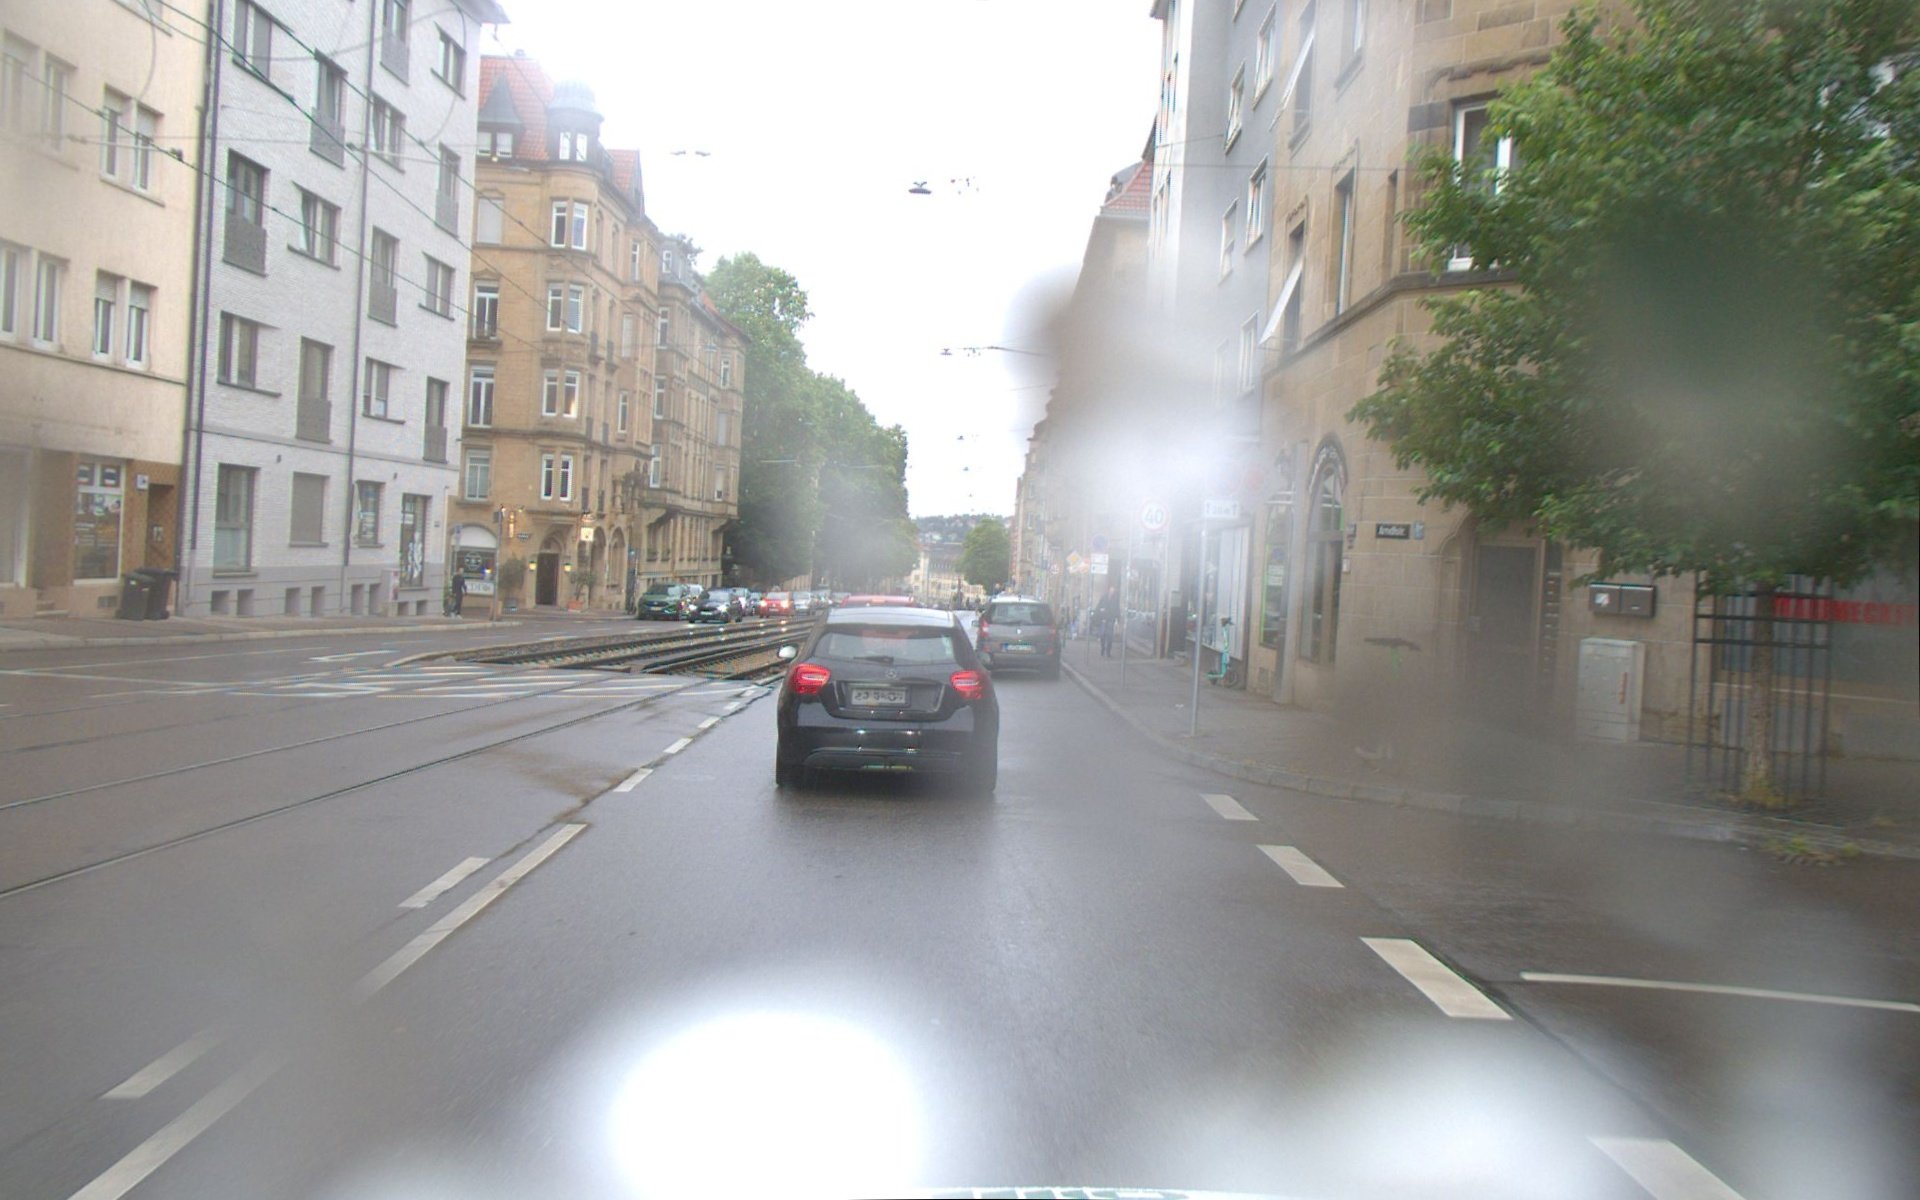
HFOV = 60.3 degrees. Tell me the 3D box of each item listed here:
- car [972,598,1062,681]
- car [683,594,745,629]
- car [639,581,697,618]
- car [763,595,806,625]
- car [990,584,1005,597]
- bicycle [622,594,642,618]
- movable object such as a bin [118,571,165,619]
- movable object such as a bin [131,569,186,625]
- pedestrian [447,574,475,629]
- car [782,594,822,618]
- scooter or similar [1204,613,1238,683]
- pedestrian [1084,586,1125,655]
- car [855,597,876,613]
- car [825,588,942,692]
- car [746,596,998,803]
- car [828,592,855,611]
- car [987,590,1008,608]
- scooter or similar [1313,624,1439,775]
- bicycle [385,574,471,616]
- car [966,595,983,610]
[{"bbox_3d":[1.170,0.789,35.195,1.729,1.586,4.746,2,0,1],"label":"car"},{"bbox_3d":[-10.425,0.481,70.352,1.908,1.421,4.275,1,0,1],"label":"car"},{"bbox_3d":[-12.904,-0.025,73.311,1.686,1.568,3.935,2,0,3],"label":"car"},{"bbox_3d":[-9.392,0.539,88.696,1.645,1.523,3.520,2,0,4],"label":"car"},{"bbox_3d":[4.212,-1.078,186.901,1.580,1.340,4.000,4,0,1],"label":"car"},{"bbox_3d":[-14.762,0.265,74.473,0.586,1.018,2.078,2,0,-3],"label":"bicycle"},{"bbox_3d":[-16.854,-0.102,34.059,0.582,0.926,0.560,6,0,0],"label":"movable object such as a bin"},{"bbox_3d":[-16.815,-0.066,34.705,0.698,1.092,0.687,6,0,0],"label":"movable object such as a bin"},{"bbox_3d":[-16.823,0.053,55.787,0.627,1.818,0.923,1,-2,0],"label":"pedestrian"},{"bbox_3d":[-9.605,0.348,100.763,1.769,1.384,4.764,2,0,2],"label":"car"},{"bbox_3d":[4.773,0.869,30.264,0.387,1.237,1.107,2,0,-1],"label":"scooter or similar"},{"bbox_3d":[3.859,0.536,44.297,0.926,1.800,1.015,2,0,-1],"label":"pedestrian"},{"bbox_3d":[-8.964,0.475,157.227,1.536,1.438,3.482,2,0,3],"label":"car"},{"bbox_3d":[-1.187,0.599,27.084,1.616,1.477,4.000,3,0,0],"label":"car"},{"bbox_3d":[-0.627,0.734,14.252,1.828,1.477,4.000,2,0,1],"label":"car"},{"bbox_3d":[-9.178,0.103,128.426,1.660,1.413,3.482,2,0,3],"label":"car"},{"bbox_3d":[2.909,-0.088,129.908,1.580,1.340,4.000,2,0,1],"label":"car"},{"bbox_3d":[3.674,0.850,14.725,0.625,1.231,1.552,2,0,-3],"label":"scooter or similar"},{"bbox_3d":[-21.644,-0.205,67.402,3.089,1.612,1.594,2,0,-11],"label":"bicycle"},{"bbox_3d":[1.377,0.273,157.098,1.580,1.340,4.000,2,0,1],"label":"car"}]
